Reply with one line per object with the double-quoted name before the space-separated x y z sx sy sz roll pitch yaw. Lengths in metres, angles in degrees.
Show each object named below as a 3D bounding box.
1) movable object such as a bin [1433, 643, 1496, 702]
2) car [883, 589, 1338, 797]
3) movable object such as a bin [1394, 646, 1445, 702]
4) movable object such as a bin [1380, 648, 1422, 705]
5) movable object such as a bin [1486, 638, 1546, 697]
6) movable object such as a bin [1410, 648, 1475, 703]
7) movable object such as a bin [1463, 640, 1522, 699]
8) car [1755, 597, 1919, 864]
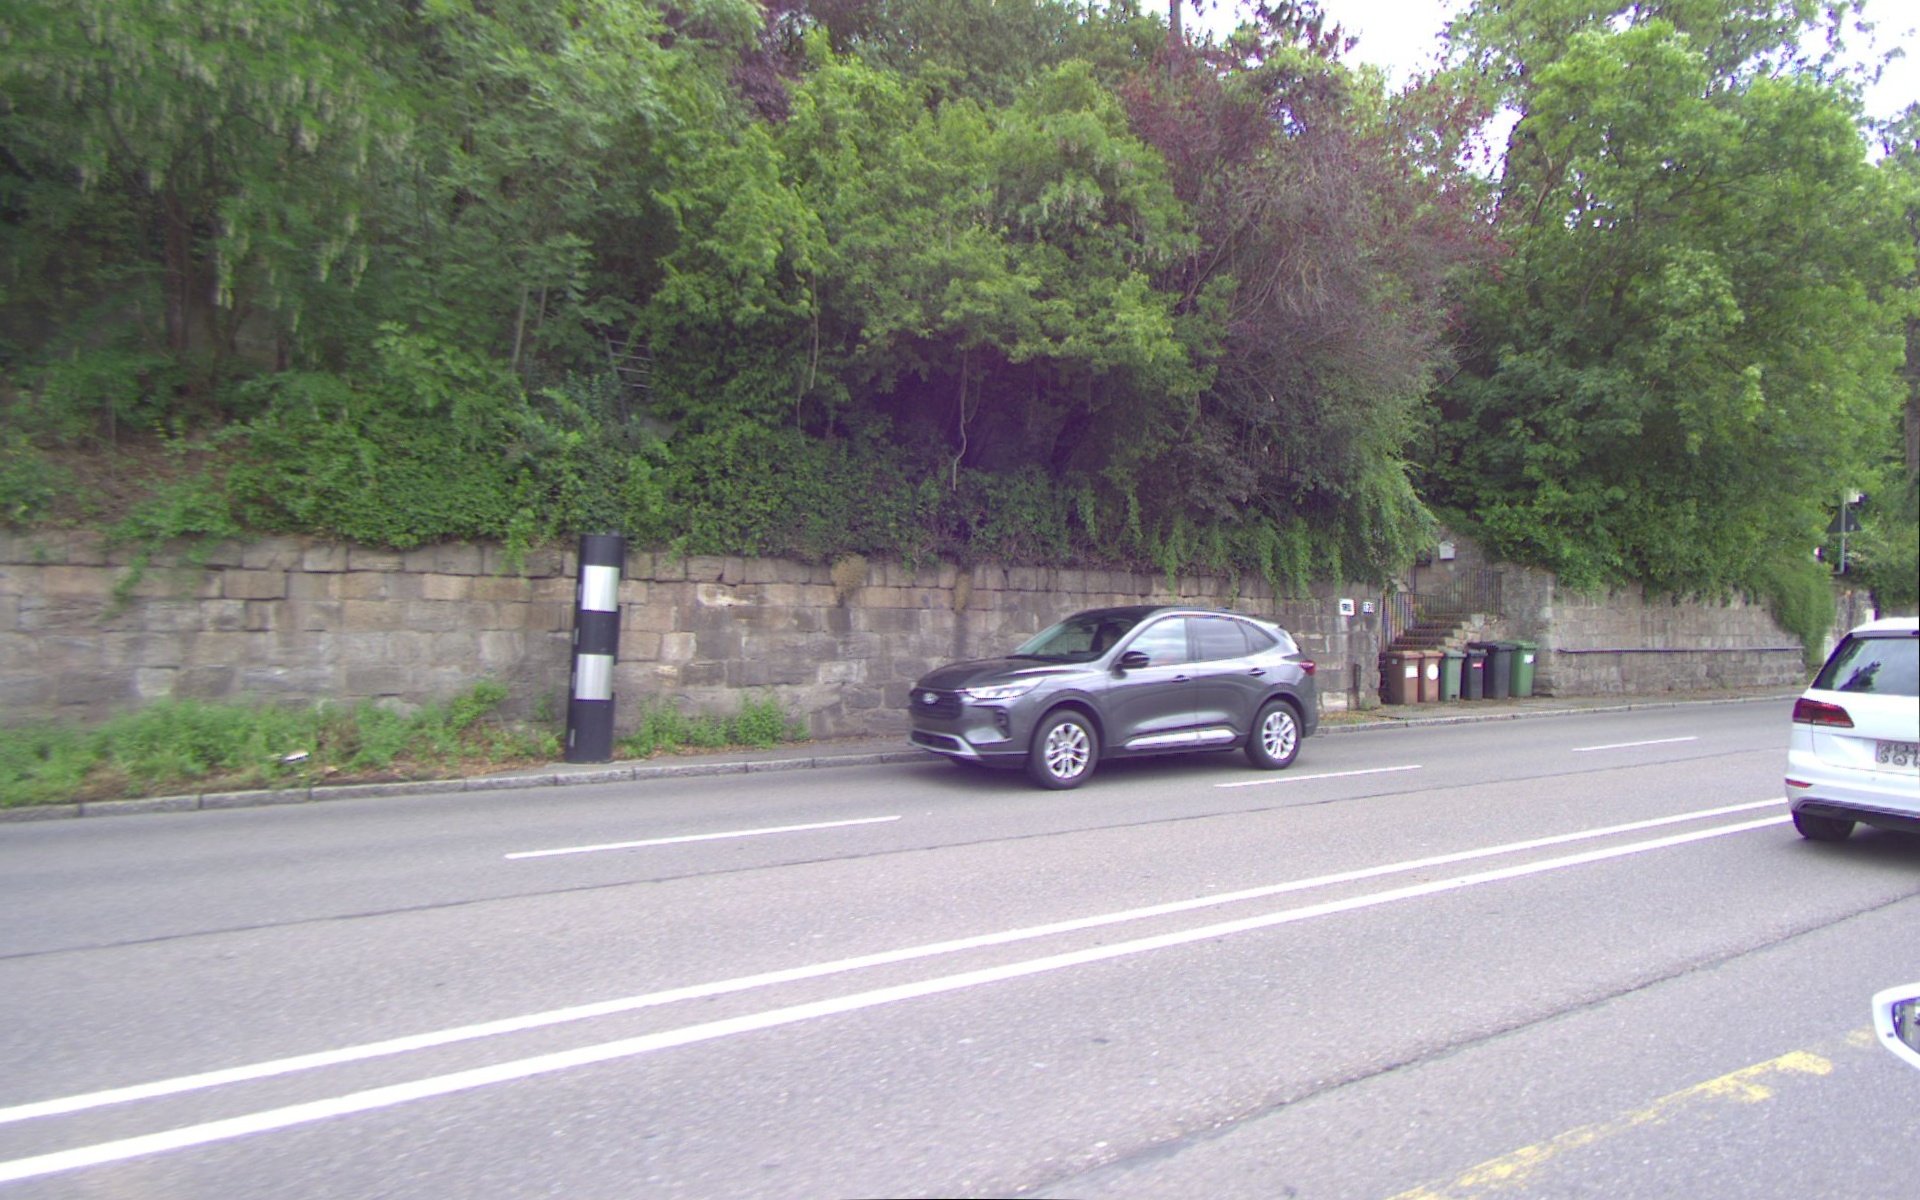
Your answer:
"movable object such as a bin" 9.490 1.348 18.907 0.615 1.048 0.893 1 -1 -33
"car" 1.600 0.825 10.205 4.417 1.720 1.807 2 -1 -30
"movable object such as a bin" 8.385 1.347 18.340 0.537 0.978 0.670 1 -1 -33
"movable object such as a bin" 7.824 1.349 17.818 0.469 0.978 0.514 1 -1 -33
"movable object such as a bin" 10.816 1.302 19.543 0.701 1.085 0.783 0 0 -33
"movable object such as a bin" 8.933 1.389 18.609 0.587 0.958 0.911 1 -1 -33
"movable object such as a bin" 10.174 1.319 19.195 0.710 1.076 0.767 1 -1 -33
"car" 7.501 0.809 6.999 4.226 1.575 1.711 1 -1 -31
